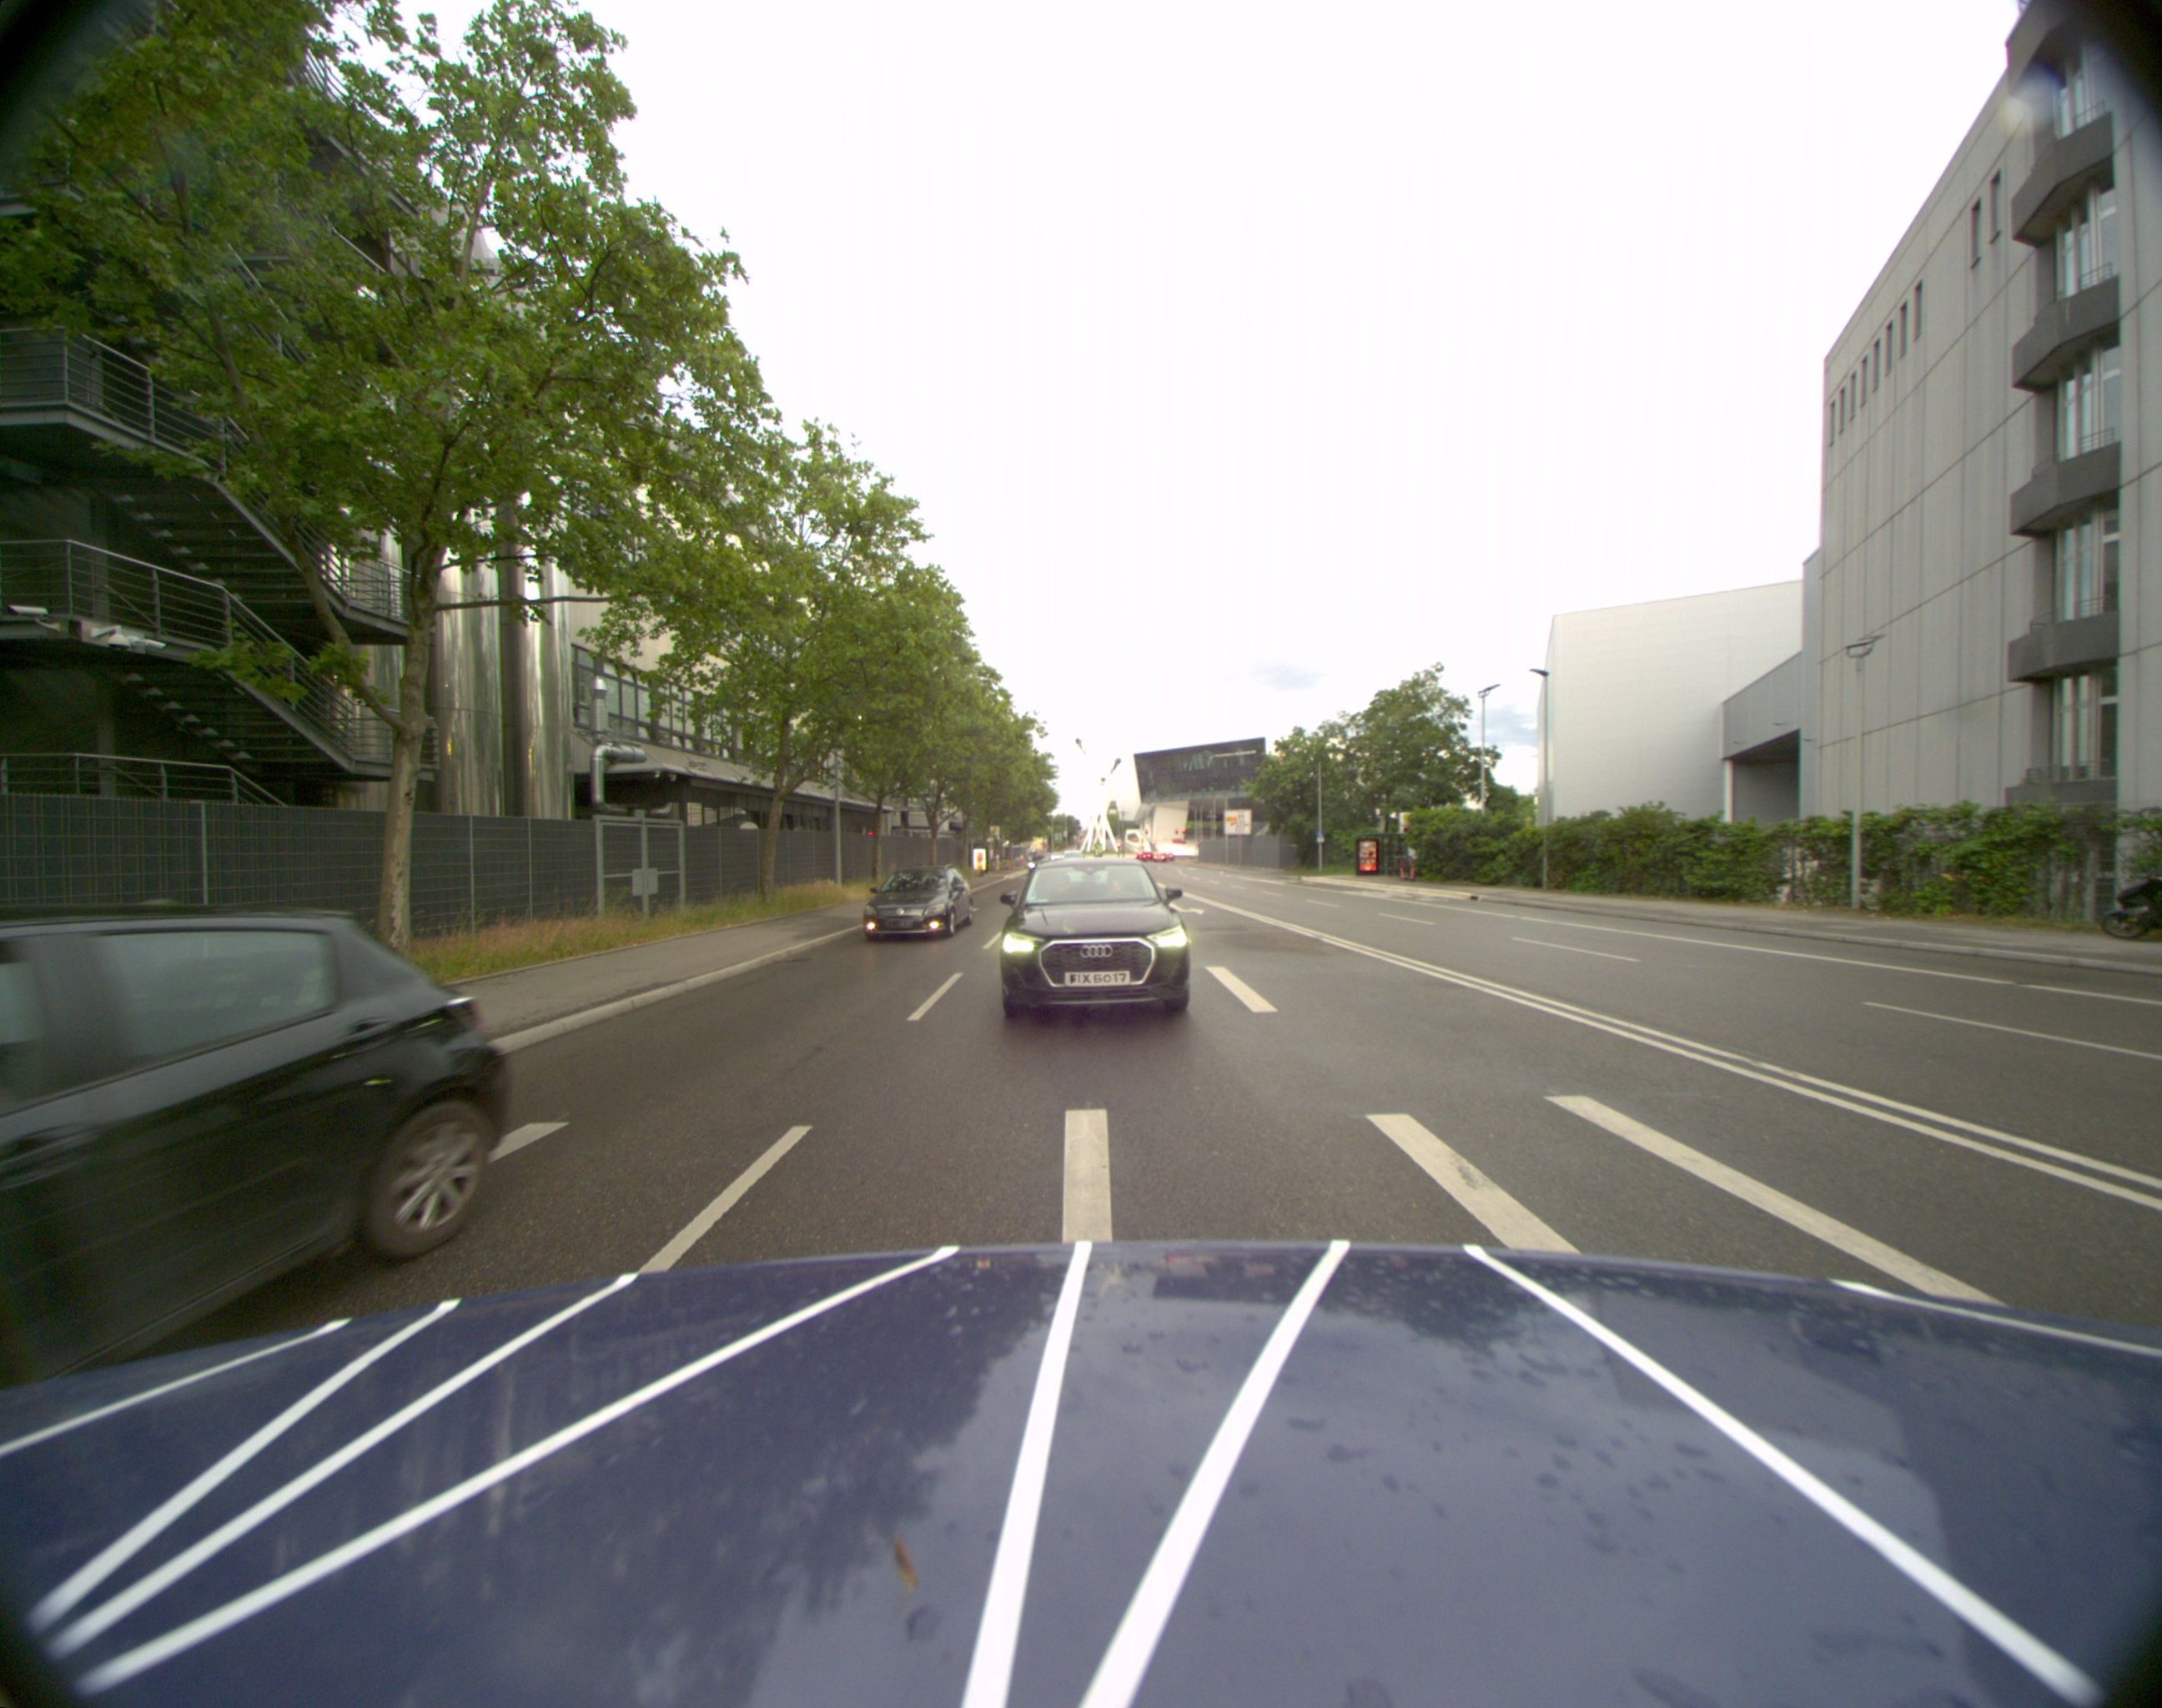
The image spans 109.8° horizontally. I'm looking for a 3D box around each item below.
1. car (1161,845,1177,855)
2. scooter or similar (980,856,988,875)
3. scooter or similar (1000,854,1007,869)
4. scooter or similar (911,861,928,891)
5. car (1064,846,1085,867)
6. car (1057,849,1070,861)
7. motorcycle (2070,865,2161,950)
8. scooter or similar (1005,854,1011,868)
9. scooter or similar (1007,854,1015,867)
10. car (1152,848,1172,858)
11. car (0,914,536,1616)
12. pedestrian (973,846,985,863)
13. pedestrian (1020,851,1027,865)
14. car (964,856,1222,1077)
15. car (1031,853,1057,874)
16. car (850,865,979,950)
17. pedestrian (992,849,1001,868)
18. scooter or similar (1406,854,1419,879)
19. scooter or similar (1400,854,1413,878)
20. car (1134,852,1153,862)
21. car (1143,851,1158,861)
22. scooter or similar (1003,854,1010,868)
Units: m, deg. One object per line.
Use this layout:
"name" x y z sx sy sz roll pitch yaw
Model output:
"car" 14.864 -0.615 127.525 1.862 1.641 3.792 0 0 19
"scooter or similar" -6.991 0.839 54.925 0.329 1.301 1.246 -1 1 4
"scooter or similar" -7.140 0.684 70.113 0.437 1.288 1.300 -1 1 3
"scooter or similar" -6.910 0.929 32.586 0.329 1.262 1.109 -1 1 9
"car" -0.635 0.250 71.191 1.951 1.879 4.490 0 0 -1
"car" -2.718 0.155 119.388 1.951 1.767 4.490 0 0 -1
"motorcycle" 16.710 0.818 11.450 0.786 1.243 2.157 -1 1 0
"scooter or similar" -7.071 0.685 73.655 0.437 1.288 1.300 -1 1 3
"scooter or similar" -6.966 0.667 75.626 0.437 1.288 1.367 -1 1 7
"car" 12.911 -0.142 120.817 2.267 1.469 4.052 0 1 18
"car" -3.459 1.039 1.574 1.881 1.485 4.075 0 0 -3
"pedestrian" -8.609 -0.001 64.015 0.933 1.408 0.698 -1 1 -1
"pedestrian" -6.746 0.476 89.757 0.723 1.610 0.833 1 2 -1
"car" 0.034 0.876 8.535 1.951 1.609 5.276 -2 0 -1
"car" -2.985 0.764 61.893 1.951 1.610 4.072 0 0 -1
"car" -3.445 1.034 16.653 1.842 1.444 4.785 -2 0 -1
"pedestrian" -7.541 0.407 67.817 0.778 1.700 0.729 -1 1 -1
"scooter or similar" 16.148 0.602 37.023 0.379 1.174 1.379 0 1 13
"scooter or similar" 16.457 0.598 38.406 0.389 1.173 1.251 0 1 13
"car" 10.092 0.473 122.631 2.255 1.469 3.884 0 1 18
"car" 11.745 0.326 128.456 1.878 1.641 3.857 0 0 16
"scooter or similar" -6.970 0.697 71.531 0.437 1.288 1.300 -1 1 3
